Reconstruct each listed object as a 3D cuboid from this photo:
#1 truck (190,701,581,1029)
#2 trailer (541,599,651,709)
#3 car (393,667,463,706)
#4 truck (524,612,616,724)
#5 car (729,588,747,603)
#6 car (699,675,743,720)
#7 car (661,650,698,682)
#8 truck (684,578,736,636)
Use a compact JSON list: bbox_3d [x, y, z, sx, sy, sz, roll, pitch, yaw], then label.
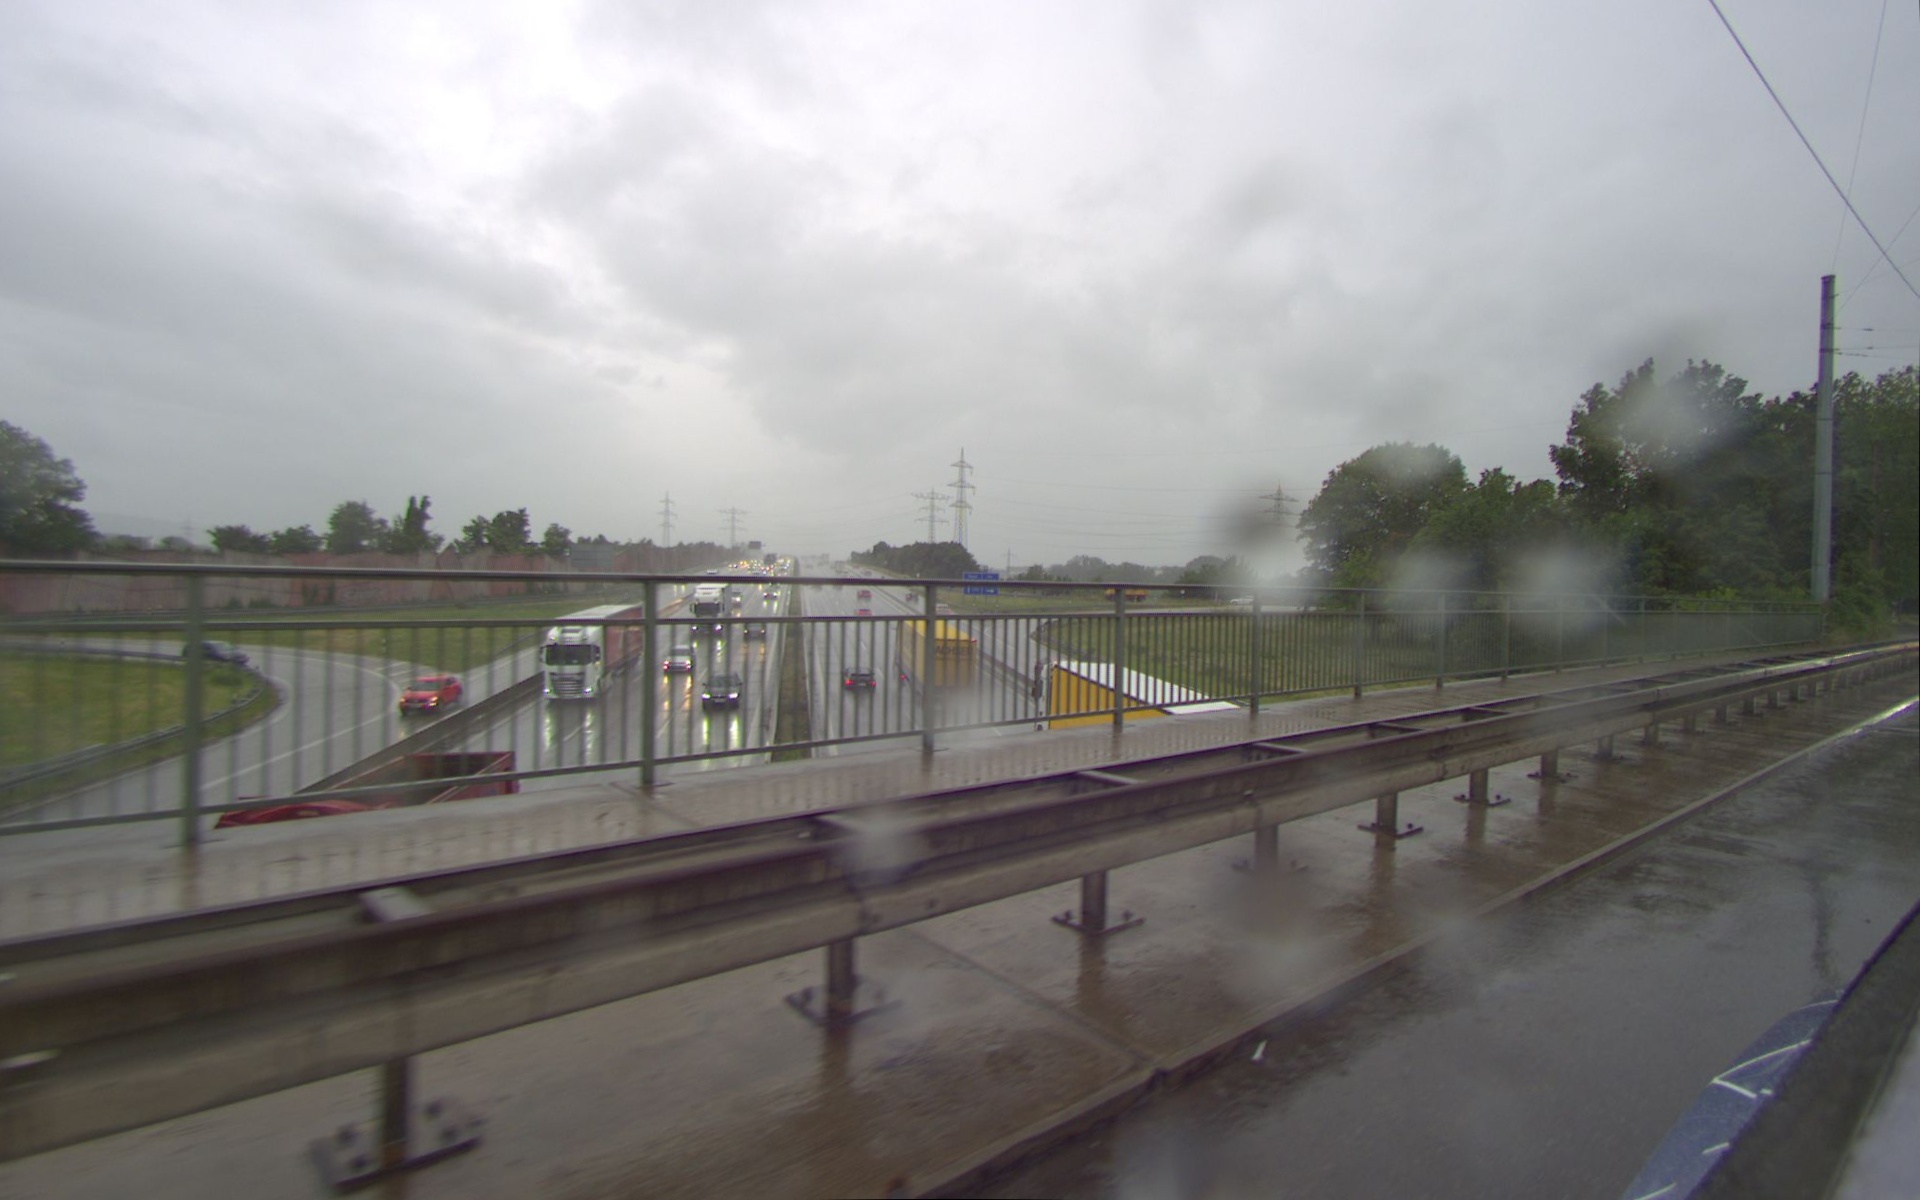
[{"bbox_3d":[-11.699,4.940,22.755,3.079,3.797,12.399,-1,1,-7],"label":"truck"},{"bbox_3d":[-21.187,2.817,59.993,3.079,5.008,13.871,-1,3,-7],"label":"trailer"},{"bbox_3d":[-25.519,4.099,48.693,1.769,1.605,4.004,-1,-2,-8],"label":"car"},{"bbox_3d":[-20.374,3.401,53.265,3.079,5.176,5.816,-1,3,-7],"label":"truck"},{"bbox_3d":[-27.173,-0.510,123.795,1.887,1.781,3.876,0,0,-8],"label":"car"},{"bbox_3d":[-11.996,4.868,50.960,1.769,1.604,4.009,-1,4,-8],"label":"car"},{"bbox_3d":[-17.914,4.179,64.805,1.769,1.517,4.008,-1,3,-8],"label":"car"},{"bbox_3d":[-22.551,0.451,92.049,3.079,4.497,12.404,-1,3,-7],"label":"truck"}]
